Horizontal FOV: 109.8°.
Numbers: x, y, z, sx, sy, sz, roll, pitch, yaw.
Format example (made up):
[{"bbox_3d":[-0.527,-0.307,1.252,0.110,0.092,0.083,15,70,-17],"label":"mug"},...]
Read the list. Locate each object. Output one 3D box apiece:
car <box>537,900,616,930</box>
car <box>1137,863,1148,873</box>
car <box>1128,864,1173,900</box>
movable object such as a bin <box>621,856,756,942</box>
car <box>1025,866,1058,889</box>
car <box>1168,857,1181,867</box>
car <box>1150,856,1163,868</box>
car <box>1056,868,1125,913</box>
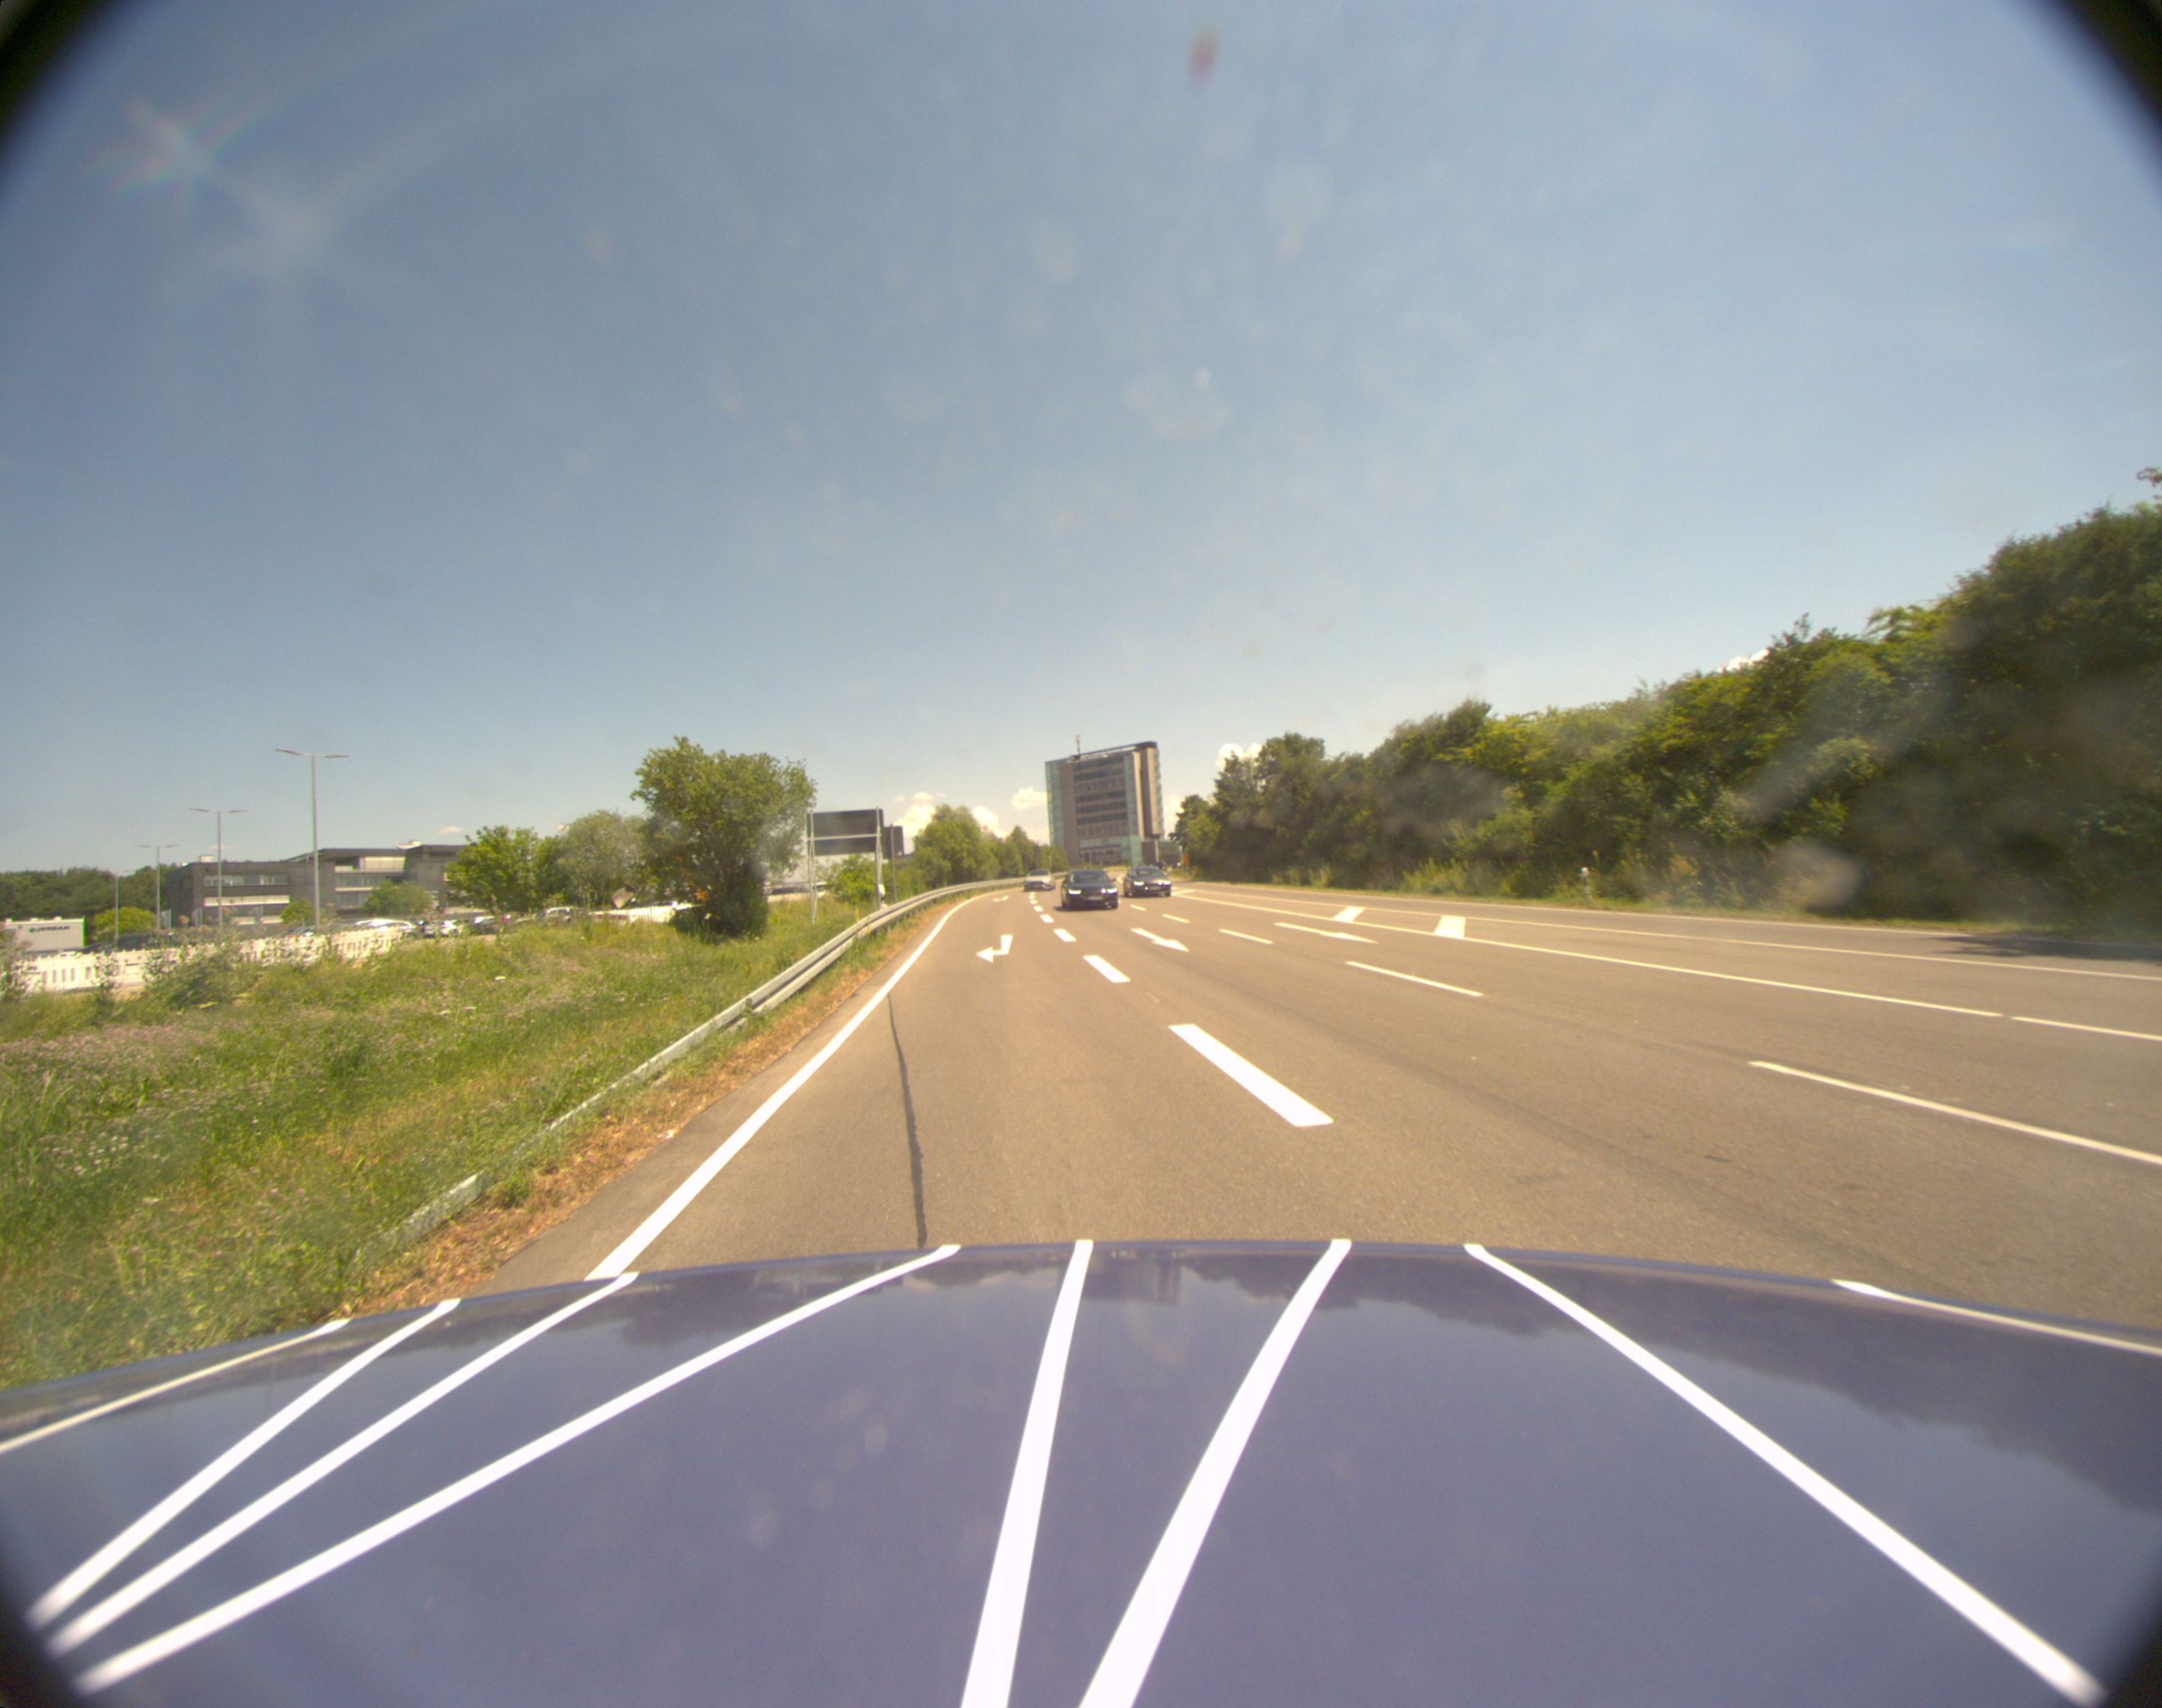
[{"bbox_3d":[-34.553,4.152,52.182,1.995,1.630,4.005,-2,1,22],"label":"car"},{"bbox_3d":[12.806,2.868,158.287,1.999,2.002,3.999,-2,1,-1],"label":"car"},{"bbox_3d":[3.260,1.305,36.446,1.738,1.434,4.392,-2,1,1],"label":"car"},{"bbox_3d":[-20.865,2.202,41.106,2.986,4.021,8.103,-2,1,-1],"label":"movable object such as a bin"},{"bbox_3d":[-2.654,1.645,52.203,1.921,1.432,4.485,-2,-4,1],"label":"car"},{"bbox_3d":[19.030,1.613,154.805,1.998,2.002,3.999,-2,1,1],"label":"car"},{"bbox_3d":[13.233,1.333,133.269,1.998,2.002,3.999,-2,1,1],"label":"car"},{"bbox_3d":[0.251,1.296,27.969,1.740,1.433,4.296,-2,-1,-10],"label":"car"}]
